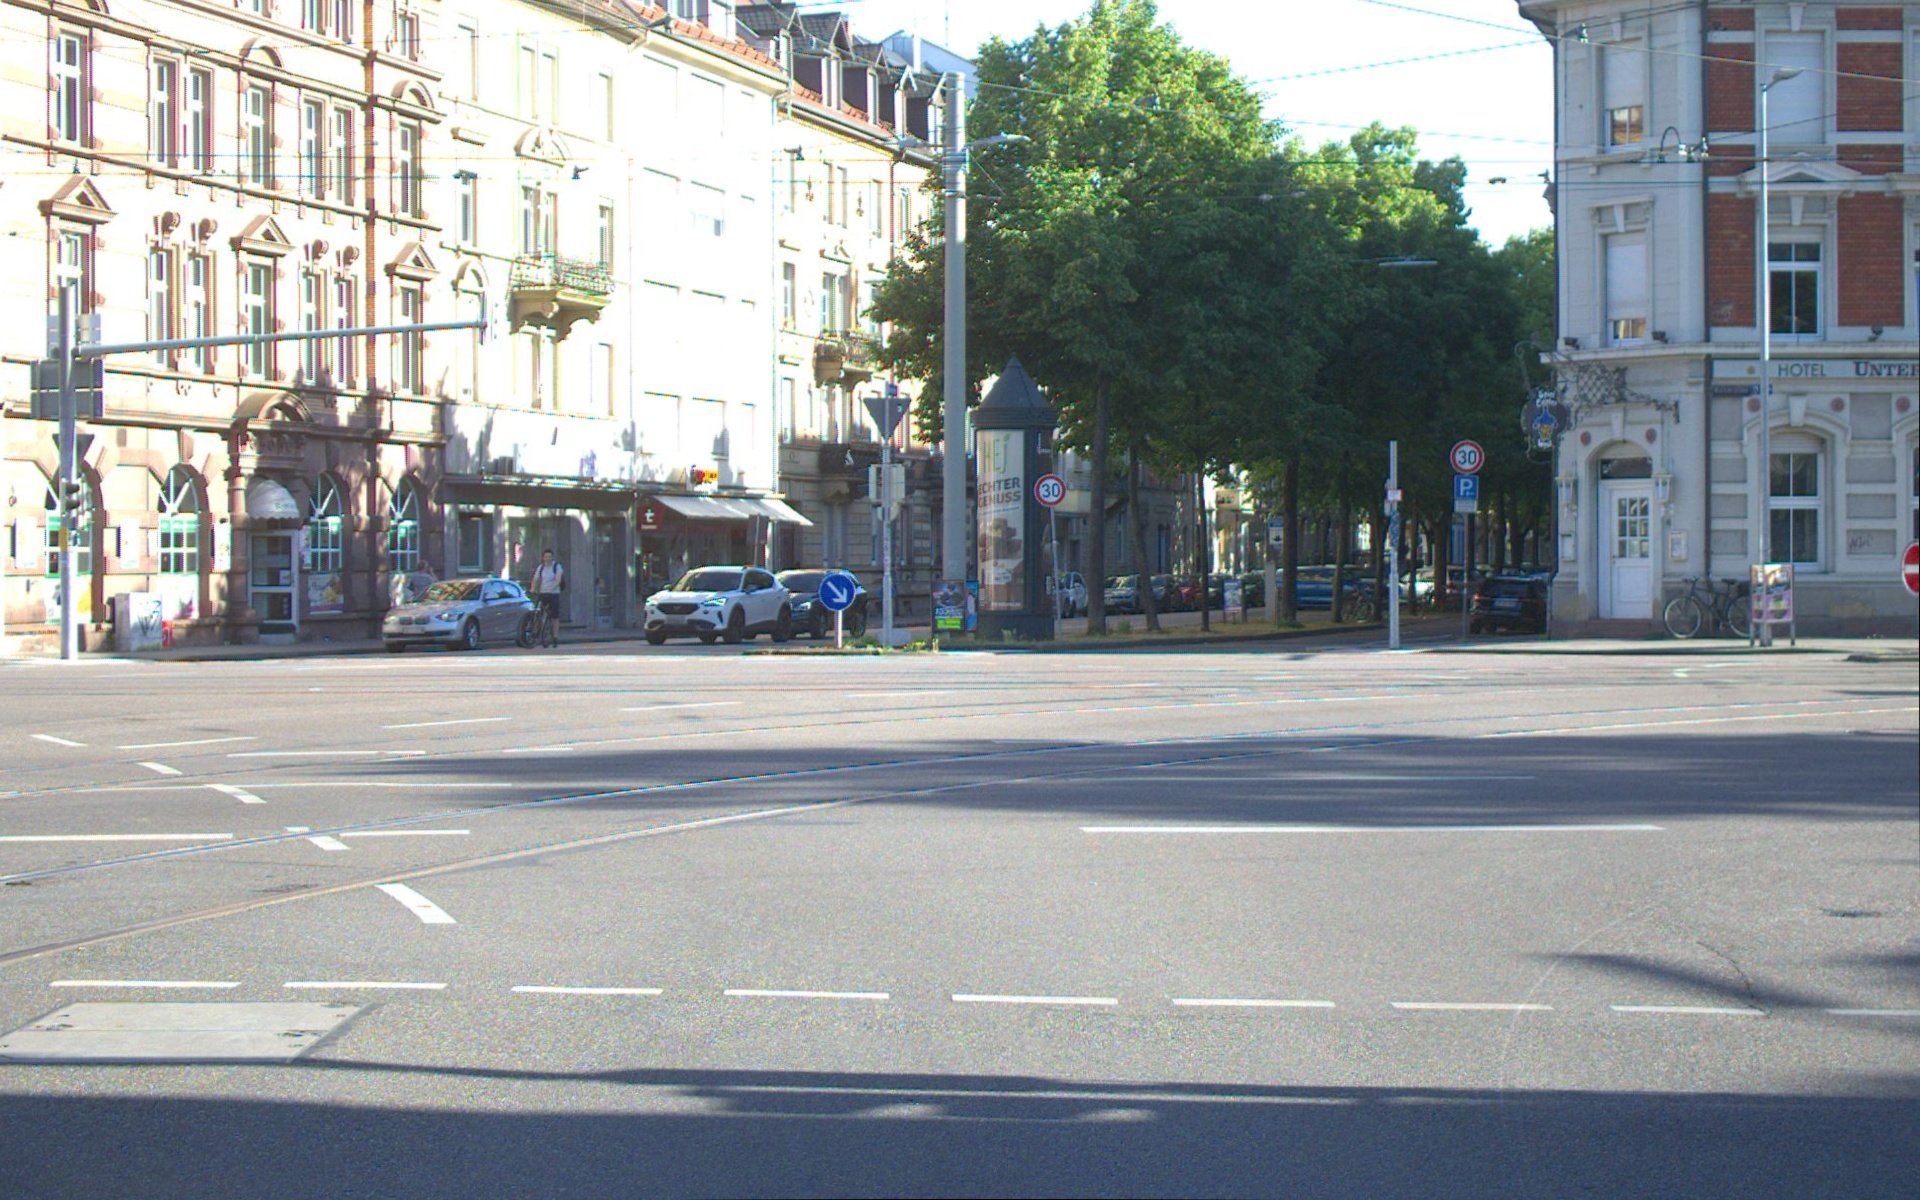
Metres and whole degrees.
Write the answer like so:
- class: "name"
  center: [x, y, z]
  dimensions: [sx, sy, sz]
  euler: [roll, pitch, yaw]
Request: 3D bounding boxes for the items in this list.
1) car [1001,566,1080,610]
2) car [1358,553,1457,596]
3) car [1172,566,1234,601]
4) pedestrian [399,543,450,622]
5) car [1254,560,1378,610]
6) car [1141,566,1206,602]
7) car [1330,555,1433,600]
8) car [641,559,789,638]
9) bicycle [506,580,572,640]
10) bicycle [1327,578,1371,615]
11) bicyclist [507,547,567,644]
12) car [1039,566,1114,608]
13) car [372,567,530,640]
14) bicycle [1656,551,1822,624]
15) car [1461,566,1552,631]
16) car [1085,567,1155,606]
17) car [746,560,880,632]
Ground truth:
- class: "car"
  center: [2.633, -0.404, 111.324]
  dimensions: [1.678, 1.349, 3.588]
  euler: [0, 1, 17]
- class: "car"
  center: [17.383, -1.002, 133.509]
  dimensions: [3.582, 1.642, 1.681]
  euler: [0, 1, 17]
- class: "car"
  center: [9.608, -0.657, 135.780]
  dimensions: [1.678, 1.349, 3.588]
  euler: [0, 1, 17]
- class: "pedestrian"
  center: [-11.392, -0.368, 73.123]
  dimensions: [0.776, 1.664, 0.830]
  euler: [1, 0, 15]
- class: "car"
  center: [11.988, -0.511, 115.680]
  dimensions: [3.905, 1.642, 1.681]
  euler: [0, 1, 17]
- class: "car"
  center: [8.136, -0.618, 130.749]
  dimensions: [1.678, 1.349, 3.588]
  euler: [0, 1, 17]
- class: "car"
  center: [15.709, -0.848, 128.035]
  dimensions: [3.582, 1.642, 1.681]
  euler: [0, 1, 17]
- class: "car"
  center: [-4.762, -0.054, 67.315]
  dimensions: [1.678, 1.478, 3.768]
  euler: [0, 1, 16]
- class: "bicycle"
  center: [-7.979, 0.182, 65.266]
  dimensions: [0.702, 1.114, 1.634]
  euler: [1, 1, 13]
- class: "bicycle"
  center: [11.259, -0.104, 99.486]
  dimensions: [0.636, 1.018, 1.847]
  euler: [1, 1, -14]
- class: "bicyclist"
  center: [-8.015, -0.091, 65.139]
  dimensions: [0.779, 1.797, 1.055]
  euler: [1, 0, 14]
- class: "car"
  center: [3.930, -0.447, 115.481]
  dimensions: [1.678, 1.349, 3.588]
  euler: [0, 1, 17]
- class: "car"
  center: [-9.873, 0.052, 66.911]
  dimensions: [1.678, 1.349, 3.588]
  euler: [0, 1, 17]
- class: "bicycle"
  center: [12.969, -0.204, 57.278]
  dimensions: [2.554, 1.170, 0.819]
  euler: [1, 0, -3]
- class: "car"
  center: [13.148, -0.056, 82.576]
  dimensions: [1.678, 1.478, 3.945]
  euler: [0, 1, 16]
- class: "car"
  center: [5.701, -0.484, 122.443]
  dimensions: [1.678, 1.349, 3.588]
  euler: [0, 1, 17]
- class: "car"
  center: [-3.121, -0.104, 73.616]
  dimensions: [1.678, 1.478, 3.945]
  euler: [0, 1, 16]
